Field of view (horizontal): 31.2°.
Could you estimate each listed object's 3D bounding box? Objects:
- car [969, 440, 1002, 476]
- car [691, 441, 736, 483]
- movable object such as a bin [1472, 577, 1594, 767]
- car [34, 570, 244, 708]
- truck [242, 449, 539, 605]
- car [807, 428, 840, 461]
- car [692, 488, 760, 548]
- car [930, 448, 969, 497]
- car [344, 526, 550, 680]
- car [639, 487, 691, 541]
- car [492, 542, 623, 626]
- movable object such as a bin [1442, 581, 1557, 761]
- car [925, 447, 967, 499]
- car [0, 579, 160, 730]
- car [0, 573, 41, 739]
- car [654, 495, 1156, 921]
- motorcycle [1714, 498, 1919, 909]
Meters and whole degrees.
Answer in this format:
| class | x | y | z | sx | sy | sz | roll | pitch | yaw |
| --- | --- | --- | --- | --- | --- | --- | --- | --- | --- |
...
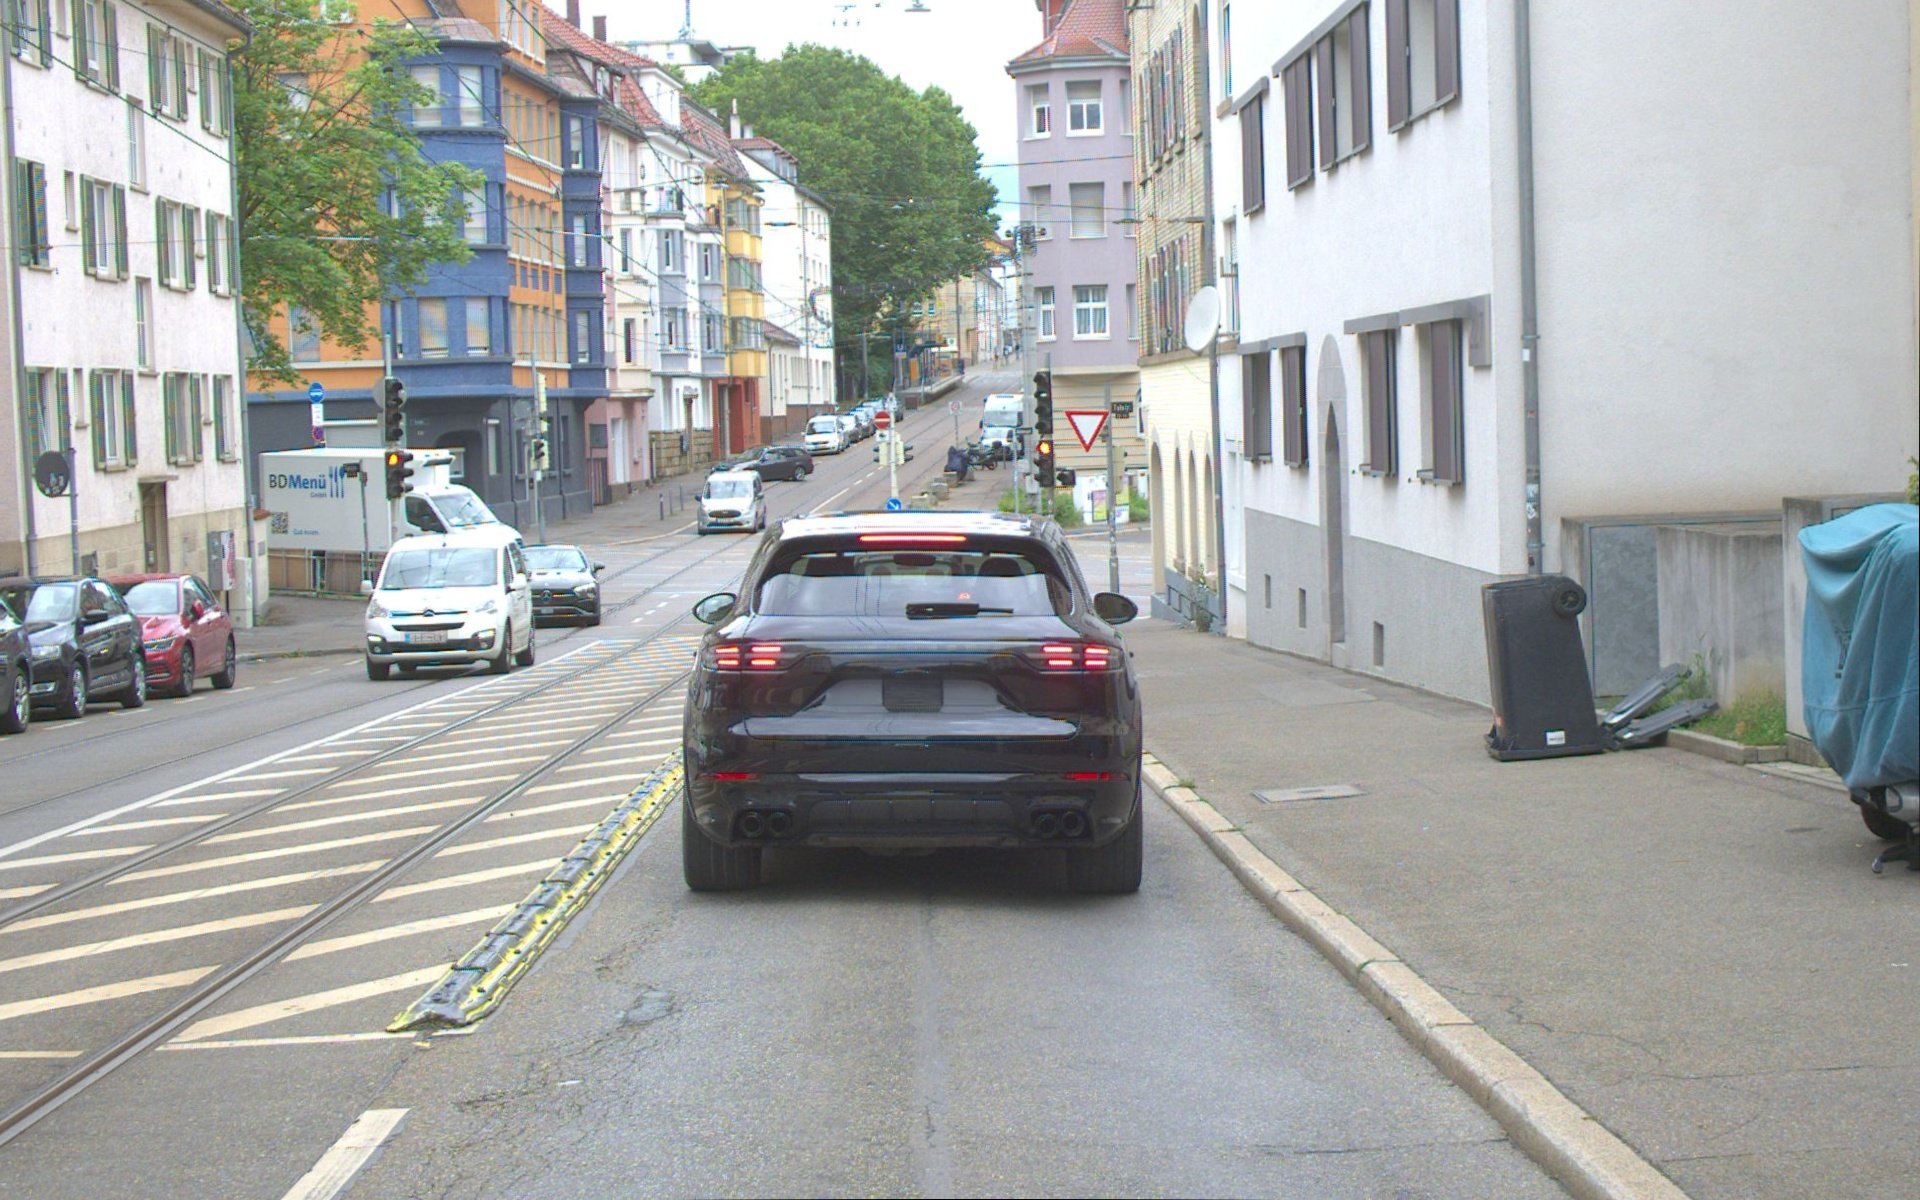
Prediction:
| class | x | y | z | sx | sy | sz | roll | pitch | yaw |
| --- | --- | --- | --- | --- | --- | --- | --- | --- | --- |
| car | 1.136 | -6.323 | 153.325 | 1.394 | 1.445 | 3.359 | -2 | 1 | 0 |
| car | -9.142 | -5.119 | 127.497 | 1.394 | 1.445 | 3.359 | -2 | 1 | 0 |
| movable object such as a bin | 3.376 | 0.416 | 20.290 | 0.588 | 1.076 | 0.692 | -2 | 1 | 1 |
| car | -9.737 | 0.429 | 41.042 | 1.620 | 1.485 | 4.048 | -3 | 0 | -2 |
| truck | -13.061 | -1.649 | 78.760 | 6.389 | 3.359 | 2.344 | -1 | 1 | 25 |
| car | -6.556 | -7.480 | 165.234 | 1.394 | 1.445 | 3.359 | -2 | 1 | 0 |
| car | -7.171 | -2.521 | 105.745 | 1.751 | 1.753 | 4.254 | -2 | 1 | 0 |
| car | -0.385 | -4.736 | 128.090 | 1.394 | 1.716 | 3.359 | -2 | 1 | 0 |
| car | -6.466 | -0.001 | 43.762 | 1.921 | 1.812 | 4.218 | -2 | 1 | 0 |
| car | -9.828 | -2.849 | 114.661 | 1.394 | 1.716 | 3.359 | -2 | 1 | 0 |
| car | -7.255 | -0.315 | 62.329 | 1.921 | 1.419 | 4.498 | -2 | 1 | -1 |
| movable object such as a bin | 3.337 | 0.431 | 21.300 | 0.611 | 1.076 | 0.541 | -2 | 1 | 1 |
| car | -0.492 | -4.462 | 121.101 | 1.394 | 1.716 | 3.359 | -2 | 1 | 0 |
| car | -9.608 | 0.535 | 35.552 | 1.736 | 1.405 | 4.000 | -2 | 1 | -1 |
| car | -9.286 | 0.533 | 29.621 | 1.620 | 1.468 | 4.556 | -3 | 0 | -2 |
| car | -0.264 | 0.404 | 15.982 | 1.993 | 1.670 | 4.000 | -2 | 1 | -1 |
| motorcycle | 3.671 | 0.335 | 13.460 | 0.838 | 1.451 | 2.553 | -2 | 1 | 0 |
